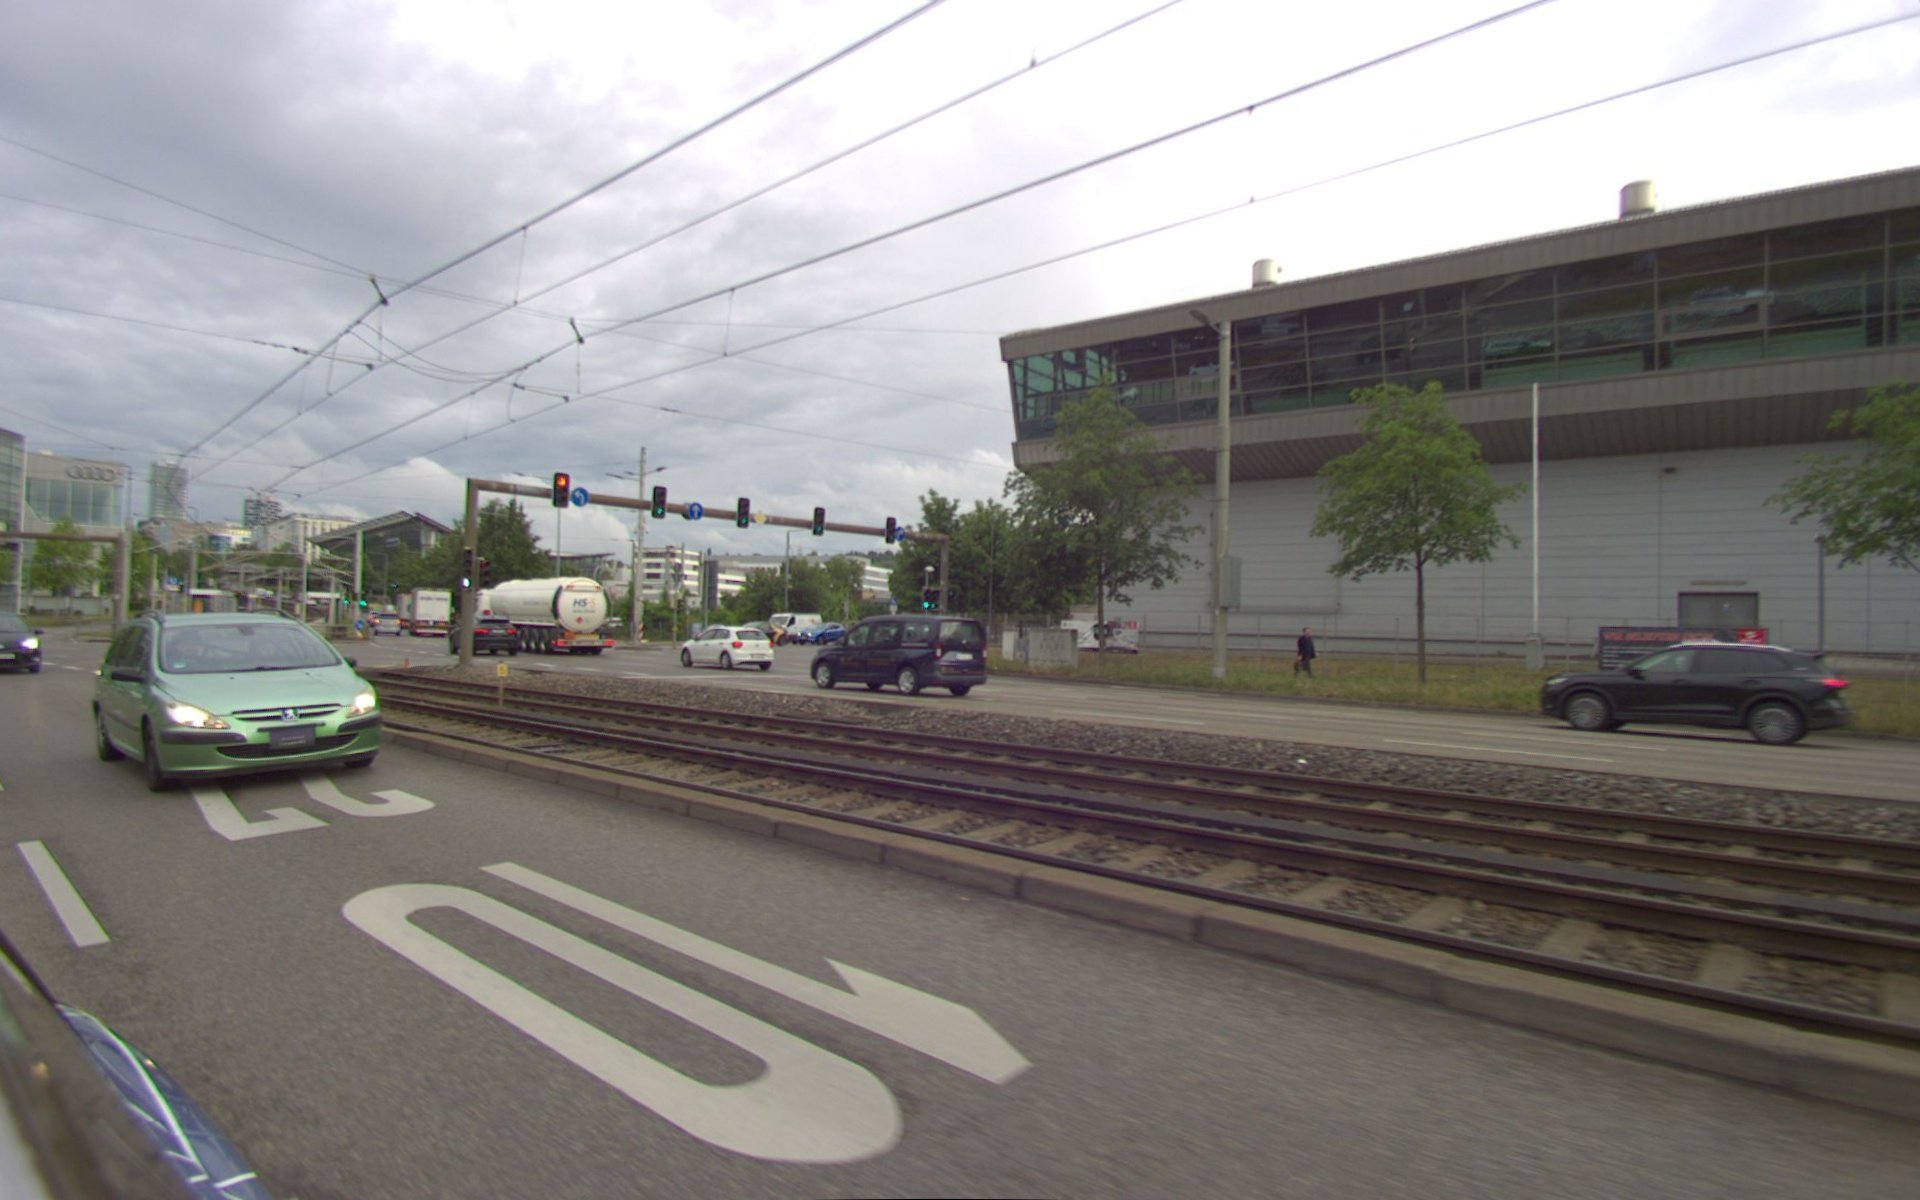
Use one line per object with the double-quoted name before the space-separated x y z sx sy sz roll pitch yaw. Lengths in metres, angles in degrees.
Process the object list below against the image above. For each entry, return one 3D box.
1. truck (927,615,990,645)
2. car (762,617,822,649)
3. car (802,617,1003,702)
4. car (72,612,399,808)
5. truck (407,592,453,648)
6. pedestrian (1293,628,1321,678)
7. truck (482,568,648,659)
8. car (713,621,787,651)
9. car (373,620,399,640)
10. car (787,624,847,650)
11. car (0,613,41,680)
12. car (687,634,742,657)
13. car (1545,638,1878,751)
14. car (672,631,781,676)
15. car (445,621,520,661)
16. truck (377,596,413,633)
"truck" -0.100 2.098 70.694 3.964 2.029 1.990 0 -3 16
"car" -12.522 2.492 75.825 1.989 2.350 5.020 0 -3 25
"car" -1.416 1.333 23.369 4.679 1.745 1.971 -2 -4 44
"car" -7.177 0.877 9.864 4.136 1.509 1.739 -1 -1 42
"truck" -45.619 1.759 87.086 3.213 4.564 7.114 2 -3 -28
"pedestrian" 11.149 1.691 32.542 0.627 1.575 0.675 -1 0 42
"truck" -18.819 0.780 47.598 4.028 3.785 10.872 3 -3 -39
"car" -13.636 2.374 66.024 1.996 1.849 4.607 -1 -3 35
"car" -48.081 2.552 84.787 1.786 1.586 4.012 2 -3 -29
"car" -10.068 2.621 71.504 1.907 1.729 4.207 -1 -3 32
"car" -23.990 1.092 24.806 3.713 1.556 1.739 -1 -3 42
"car" -19.890 3.677 82.122 3.931 1.807 2.006 2 -3 -27
"car" 13.020 1.541 17.717 4.474 1.696 1.971 -2 -3 43
"car" -8.016 1.795 34.647 3.924 1.457 1.774 -2 -3 44
"car" -20.094 1.711 42.541 1.794 1.586 4.006 3 -3 -41
"truck" -68.402 1.816 122.473 3.331 4.171 7.652 2 -3 -31
